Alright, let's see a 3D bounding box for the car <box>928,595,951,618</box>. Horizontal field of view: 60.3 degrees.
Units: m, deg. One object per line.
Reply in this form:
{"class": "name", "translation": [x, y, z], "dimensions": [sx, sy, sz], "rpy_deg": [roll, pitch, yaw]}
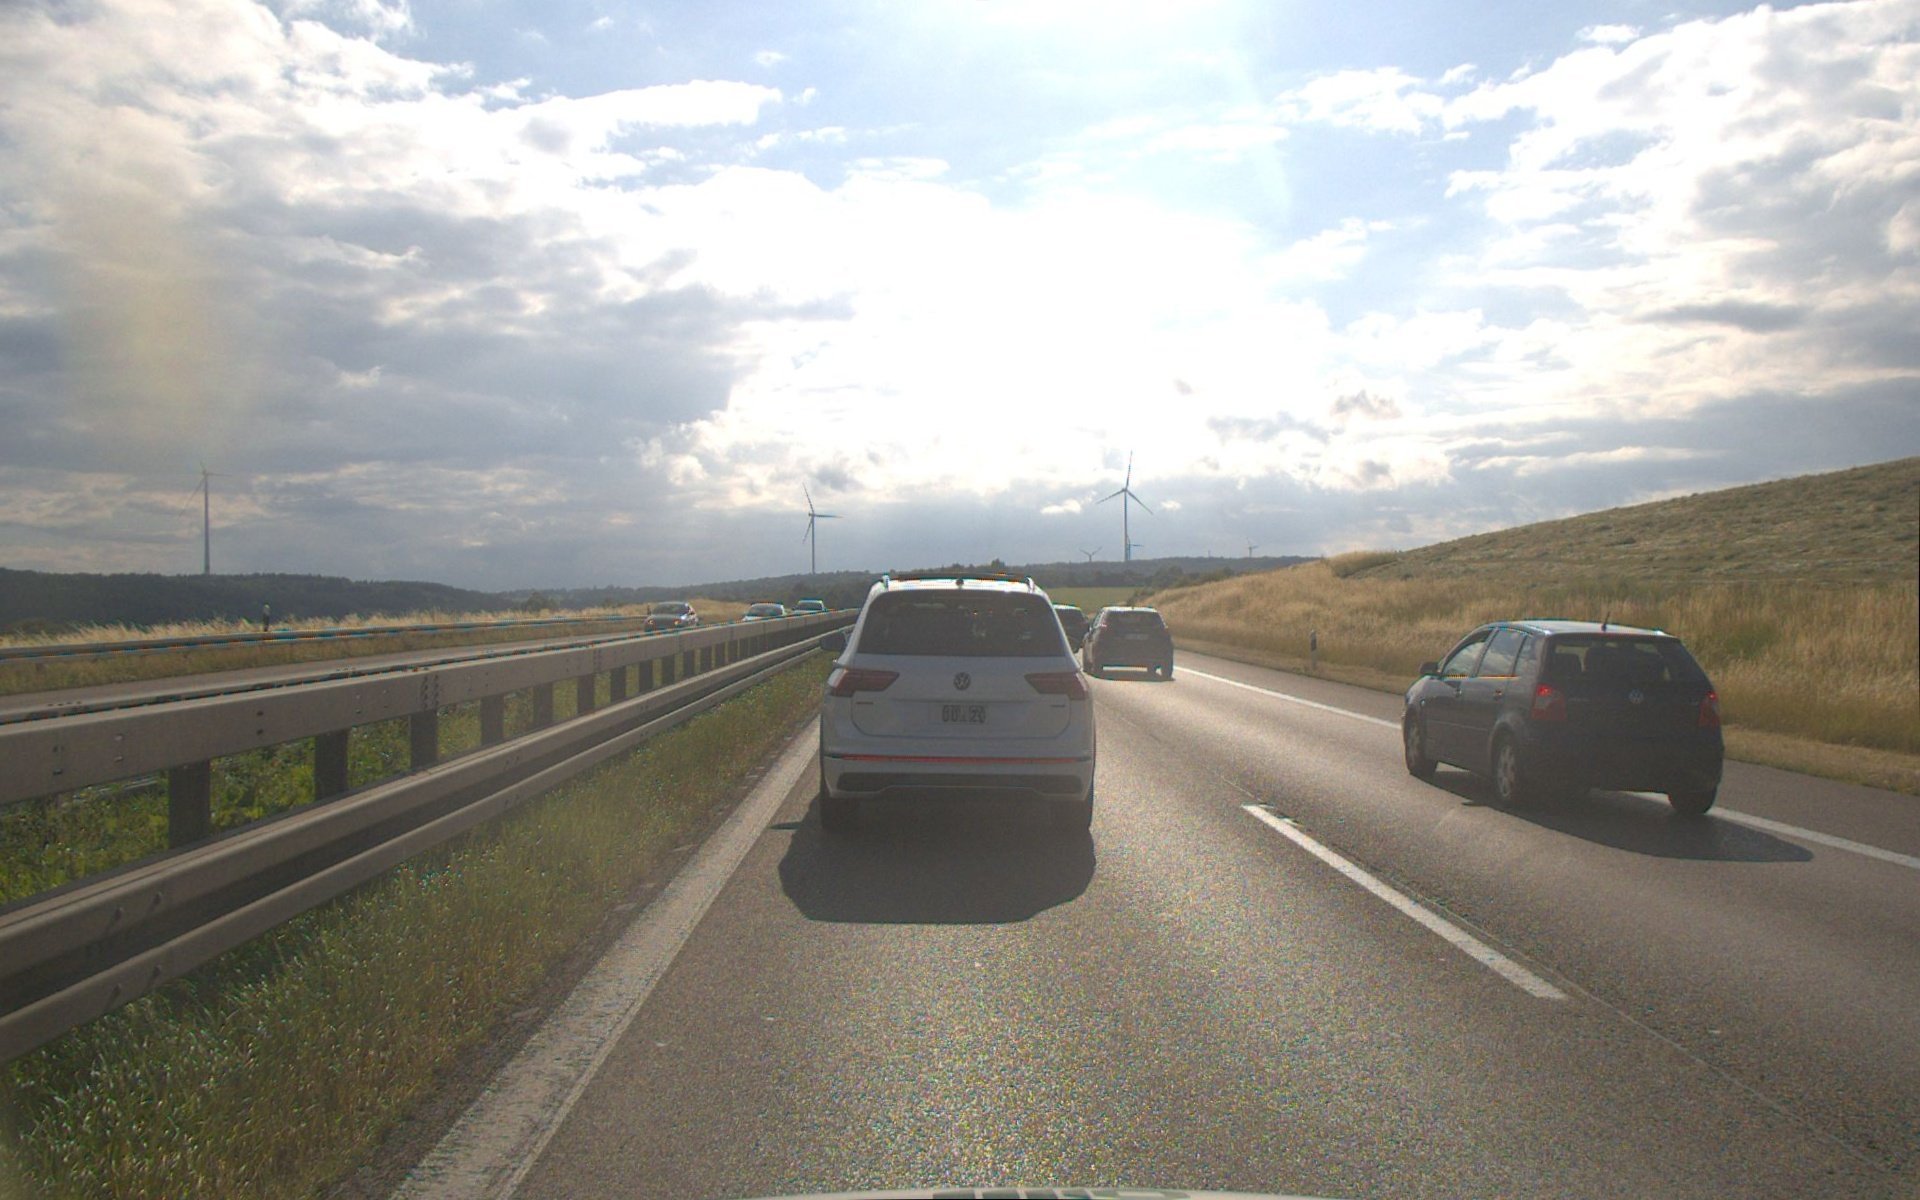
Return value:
{"class": "car", "translation": [-1.570, 0.481, 124.926], "dimensions": [1.669, 1.679, 3.999], "rpy_deg": [1, -1, -1]}

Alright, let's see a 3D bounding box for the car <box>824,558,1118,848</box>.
{"class": "car", "translation": [0.032, 0.635, 11.880], "dimensions": [1.734, 1.705, 3.999], "rpy_deg": [1, -1, -1]}

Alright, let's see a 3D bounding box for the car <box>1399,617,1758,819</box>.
{"class": "car", "translation": [5.002, 0.880, 13.902], "dimensions": [1.573, 1.445, 3.671], "rpy_deg": [1, -1, -1]}

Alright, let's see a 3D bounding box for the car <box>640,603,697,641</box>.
{"class": "car", "translation": [-11.996, 0.906, 68.330], "dimensions": [1.714, 1.505, 4.478], "rpy_deg": [1, 0, -2]}

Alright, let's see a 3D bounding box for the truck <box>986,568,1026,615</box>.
{"class": "truck", "translation": [3.706, -0.694, 135.812], "dimensions": [3.118, 3.656, 11.131], "rpy_deg": [1, 0, 1]}

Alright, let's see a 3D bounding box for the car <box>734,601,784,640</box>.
{"class": "car", "translation": [-8.483, 0.855, 70.087], "dimensions": [1.714, 1.547, 4.478], "rpy_deg": [1, 0, -2]}

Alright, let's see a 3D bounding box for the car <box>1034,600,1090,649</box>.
{"class": "car", "translation": [3.666, 0.867, 60.013], "dimensions": [1.669, 1.679, 3.999], "rpy_deg": [1, -1, -1]}

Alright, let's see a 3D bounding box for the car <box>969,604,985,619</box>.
{"class": "car", "translation": [1.977, 1.325, 189.323], "dimensions": [1.669, 1.573, 3.999], "rpy_deg": [1, -1, -1]}

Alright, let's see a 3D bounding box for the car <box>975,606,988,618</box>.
{"class": "car", "translation": [2.858, 1.592, 221.132], "dimensions": [1.669, 1.573, 3.999], "rpy_deg": [1, -1, -1]}

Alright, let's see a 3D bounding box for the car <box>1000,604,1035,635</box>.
{"class": "car", "translation": [3.041, 1.030, 87.987], "dimensions": [1.669, 1.573, 3.999], "rpy_deg": [1, -1, -1]}

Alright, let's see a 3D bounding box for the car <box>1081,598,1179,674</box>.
{"class": "car", "translation": [3.710, 0.778, 36.695], "dimensions": [1.669, 1.573, 3.999], "rpy_deg": [1, -1, -1]}

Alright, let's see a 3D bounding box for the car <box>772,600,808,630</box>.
{"class": "car", "translation": [-9.594, 0.818, 93.325], "dimensions": [1.714, 1.631, 4.264], "rpy_deg": [1, -1, -2]}

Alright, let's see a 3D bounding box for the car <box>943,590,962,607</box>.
{"class": "car", "translation": [-0.698, -0.112, 154.720], "dimensions": [1.669, 1.573, 3.999], "rpy_deg": [1, -1, -1]}
